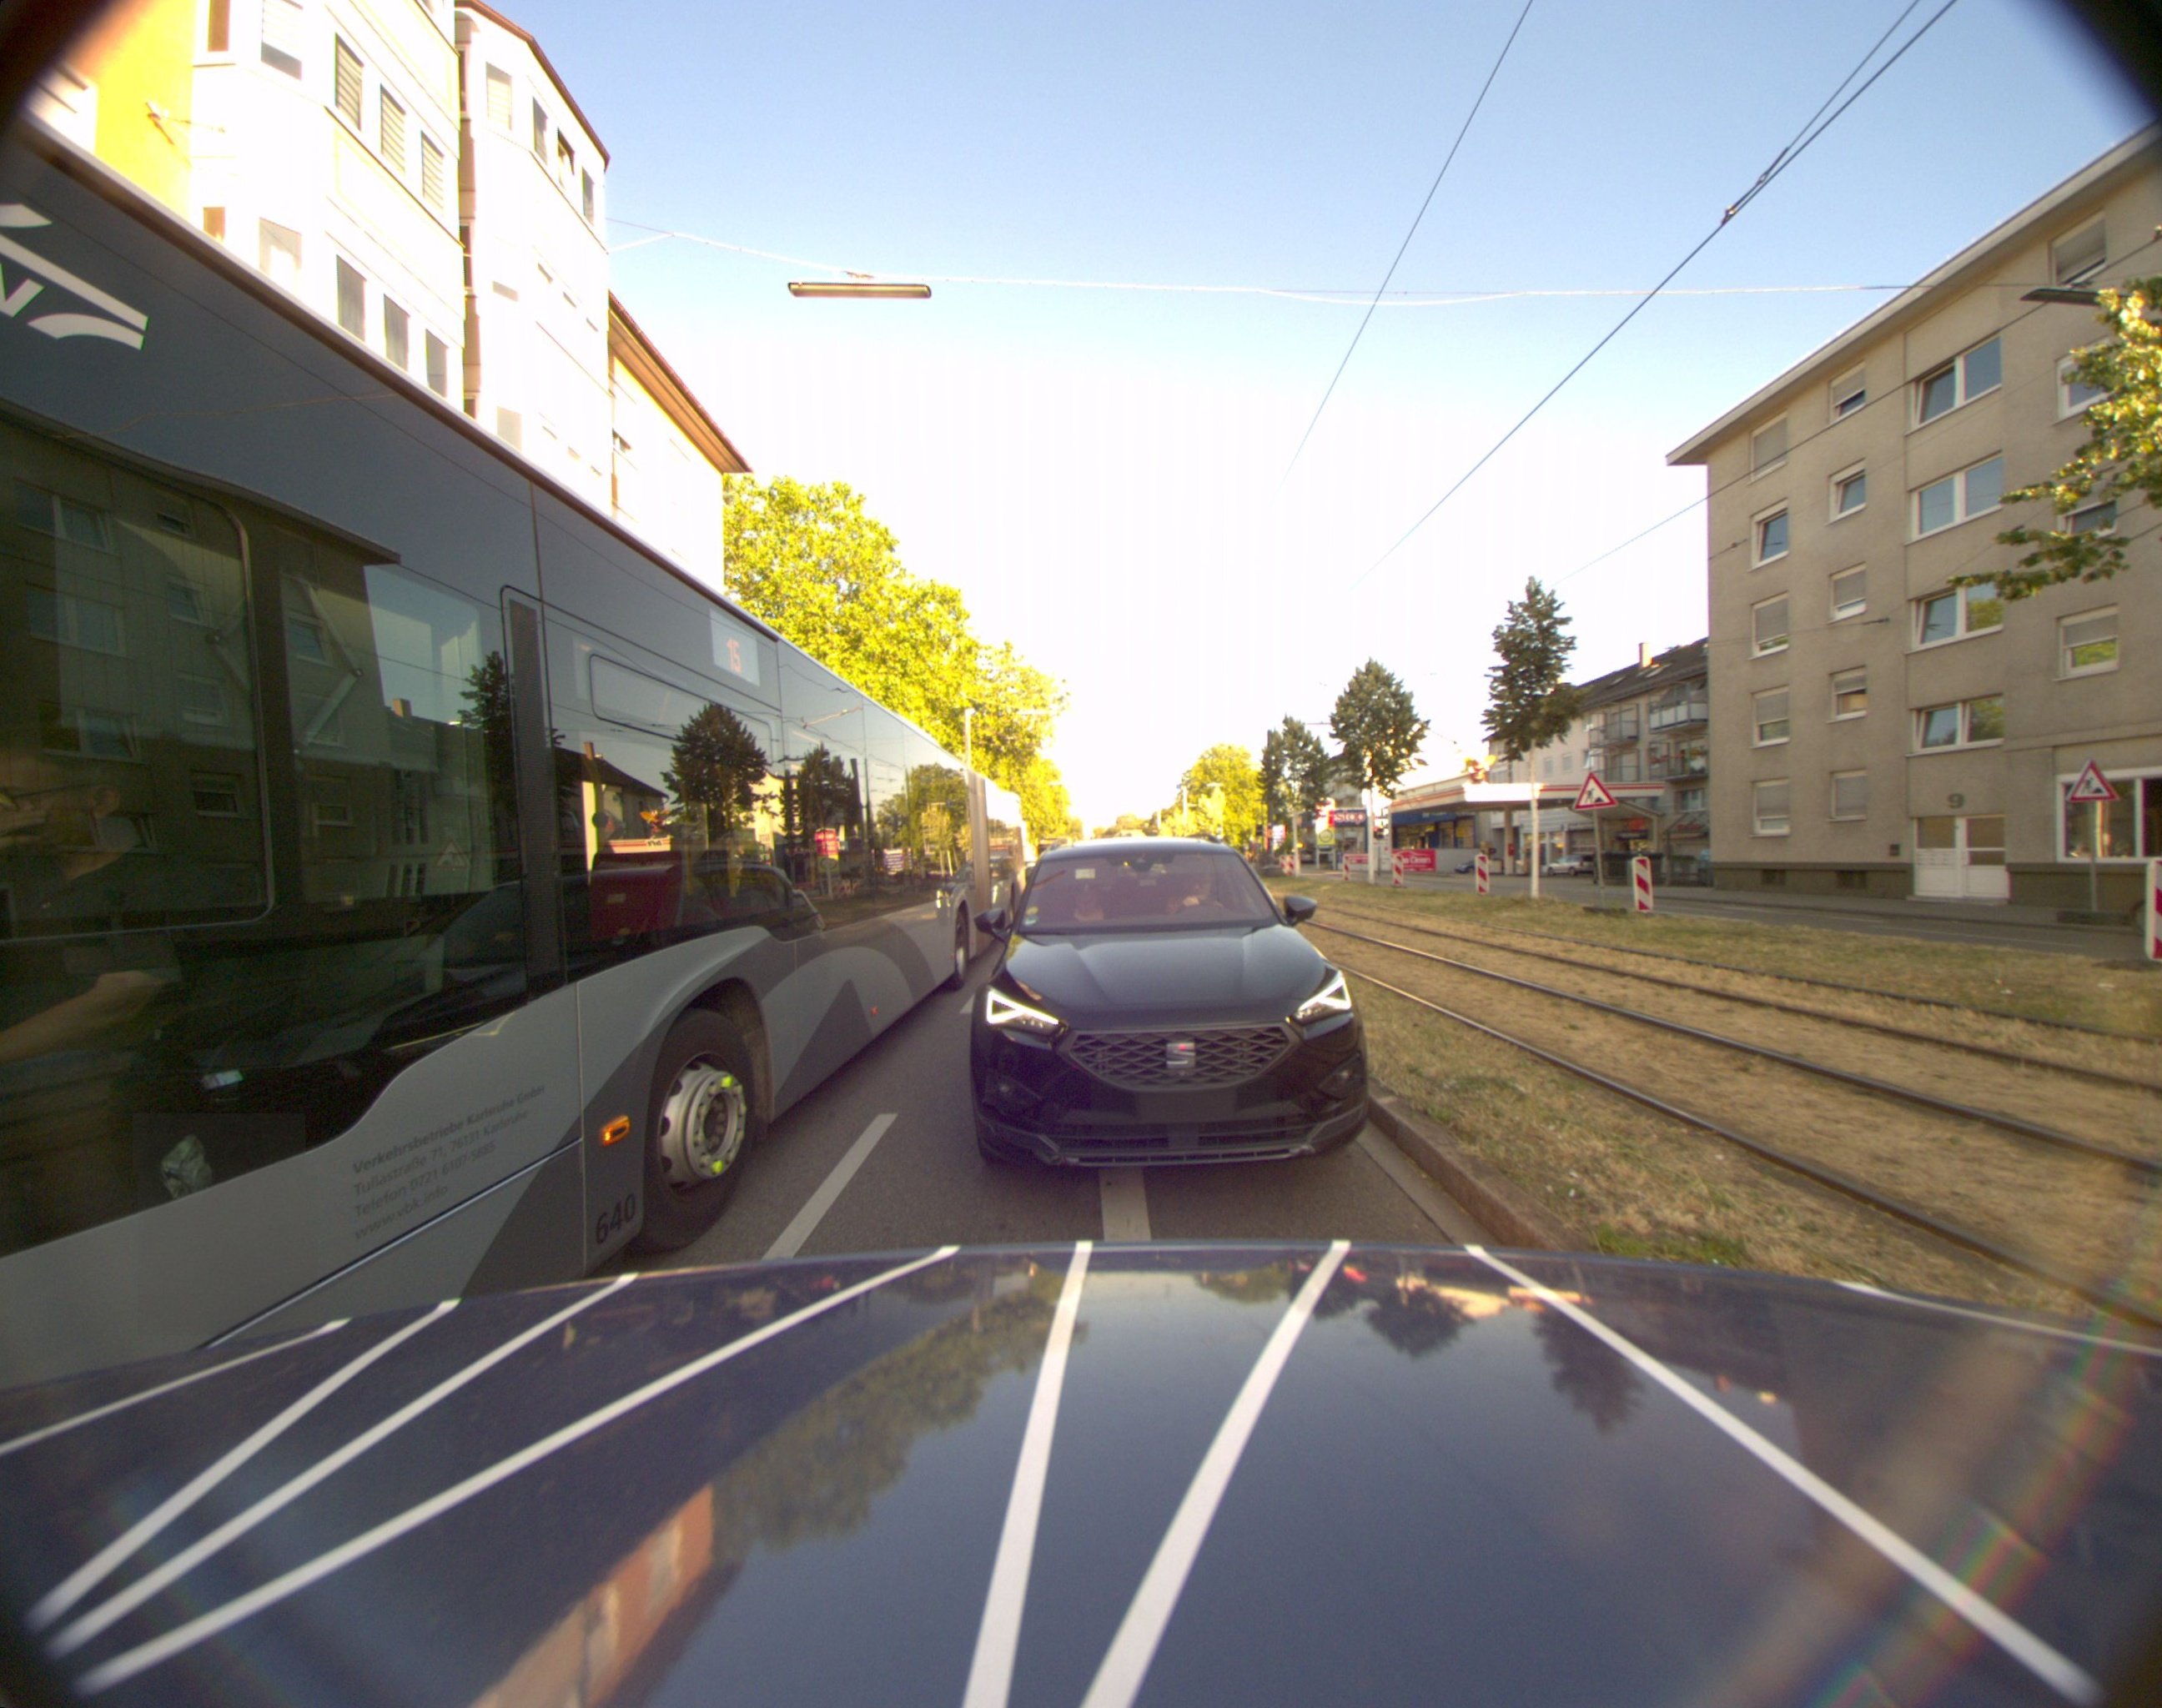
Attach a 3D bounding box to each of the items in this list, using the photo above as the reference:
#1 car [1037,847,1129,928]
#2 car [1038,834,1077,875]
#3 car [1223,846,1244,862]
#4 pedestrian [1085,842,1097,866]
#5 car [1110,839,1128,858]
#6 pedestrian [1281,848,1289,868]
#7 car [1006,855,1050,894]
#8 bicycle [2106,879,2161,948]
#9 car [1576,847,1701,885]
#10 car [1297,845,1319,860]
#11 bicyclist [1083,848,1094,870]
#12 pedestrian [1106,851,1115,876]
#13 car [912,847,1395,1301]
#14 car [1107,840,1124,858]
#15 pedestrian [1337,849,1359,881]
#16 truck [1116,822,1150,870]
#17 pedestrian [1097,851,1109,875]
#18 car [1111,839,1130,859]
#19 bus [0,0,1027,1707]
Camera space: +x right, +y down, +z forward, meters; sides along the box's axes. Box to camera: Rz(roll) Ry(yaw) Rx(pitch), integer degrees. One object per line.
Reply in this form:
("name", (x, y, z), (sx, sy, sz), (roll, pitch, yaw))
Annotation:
("car", (0.041, 0.745, 19.067), (1.999, 1.739, 4.000), (-2, 0, 0))
("car", (-1.712, 0.016, 57.284), (2.681, 2.875, 5.452), (-2, 1, 0))
("car", (16.956, -0.021, 84.468), (1.723, 1.601, 3.828), (-2, 1, 3))
("pedestrian", (0.640, 0.018, 47.093), (0.618, 1.482, 0.438), (-2, 1, -13))
("car", (4.107, -0.573, 83.557), (1.767, 2.002, 3.791), (-2, 1, 1))
("pedestrian", (20.938, 0.422, 77.926), (0.632, 2.002, 0.583), (0, 1, 2))
("car", (-2.392, 0.895, 34.881), (1.750, 1.598, 3.823), (-2, 1, -1))
("bicycle", (16.889, 0.933, 11.438), (0.447, 1.038, 1.861), (-1, 0, 2))
("car", (22.780, 0.507, 31.143), (3.727, 1.460, 1.908), (0, -1, 0))
("car", (25.324, -0.210, 84.781), (1.781, 1.547, 4.002), (-2, 1, 9))
("bicyclist", (0.458, 0.302, 46.291), (0.500, 1.303, 0.499), (-3, 1, -17))
("pedestrian", (2.406, 0.779, 61.743), (0.625, 2.002, 0.695), (-2, 0, 0))
("car", (0.306, 0.844, 4.919), (1.774, 1.667, 4.000), (-3, 0, 1))
("car", (3.996, -0.617, 87.878), (1.767, 2.002, 3.791), (-2, 1, 1))
("pedestrian", (11.007, 0.459, 31.338), (0.664, 1.263, 0.581), (-2, 0, 1))
("truck", (4.319, -0.686, 64.523), (2.306, 3.798, 7.723), (-2, 1, 1))
("pedestrian", (1.481, 0.584, 50.421), (0.508, 1.552, 0.700), (-2, 1, 24))
("car", (4.068, -0.516, 78.524), (1.767, 2.002, 3.791), (-2, 1, 1))
("bus", (-2.785, 0.194, 9.042), (2.773, 3.131, 17.740), (-2, 0, 1))
